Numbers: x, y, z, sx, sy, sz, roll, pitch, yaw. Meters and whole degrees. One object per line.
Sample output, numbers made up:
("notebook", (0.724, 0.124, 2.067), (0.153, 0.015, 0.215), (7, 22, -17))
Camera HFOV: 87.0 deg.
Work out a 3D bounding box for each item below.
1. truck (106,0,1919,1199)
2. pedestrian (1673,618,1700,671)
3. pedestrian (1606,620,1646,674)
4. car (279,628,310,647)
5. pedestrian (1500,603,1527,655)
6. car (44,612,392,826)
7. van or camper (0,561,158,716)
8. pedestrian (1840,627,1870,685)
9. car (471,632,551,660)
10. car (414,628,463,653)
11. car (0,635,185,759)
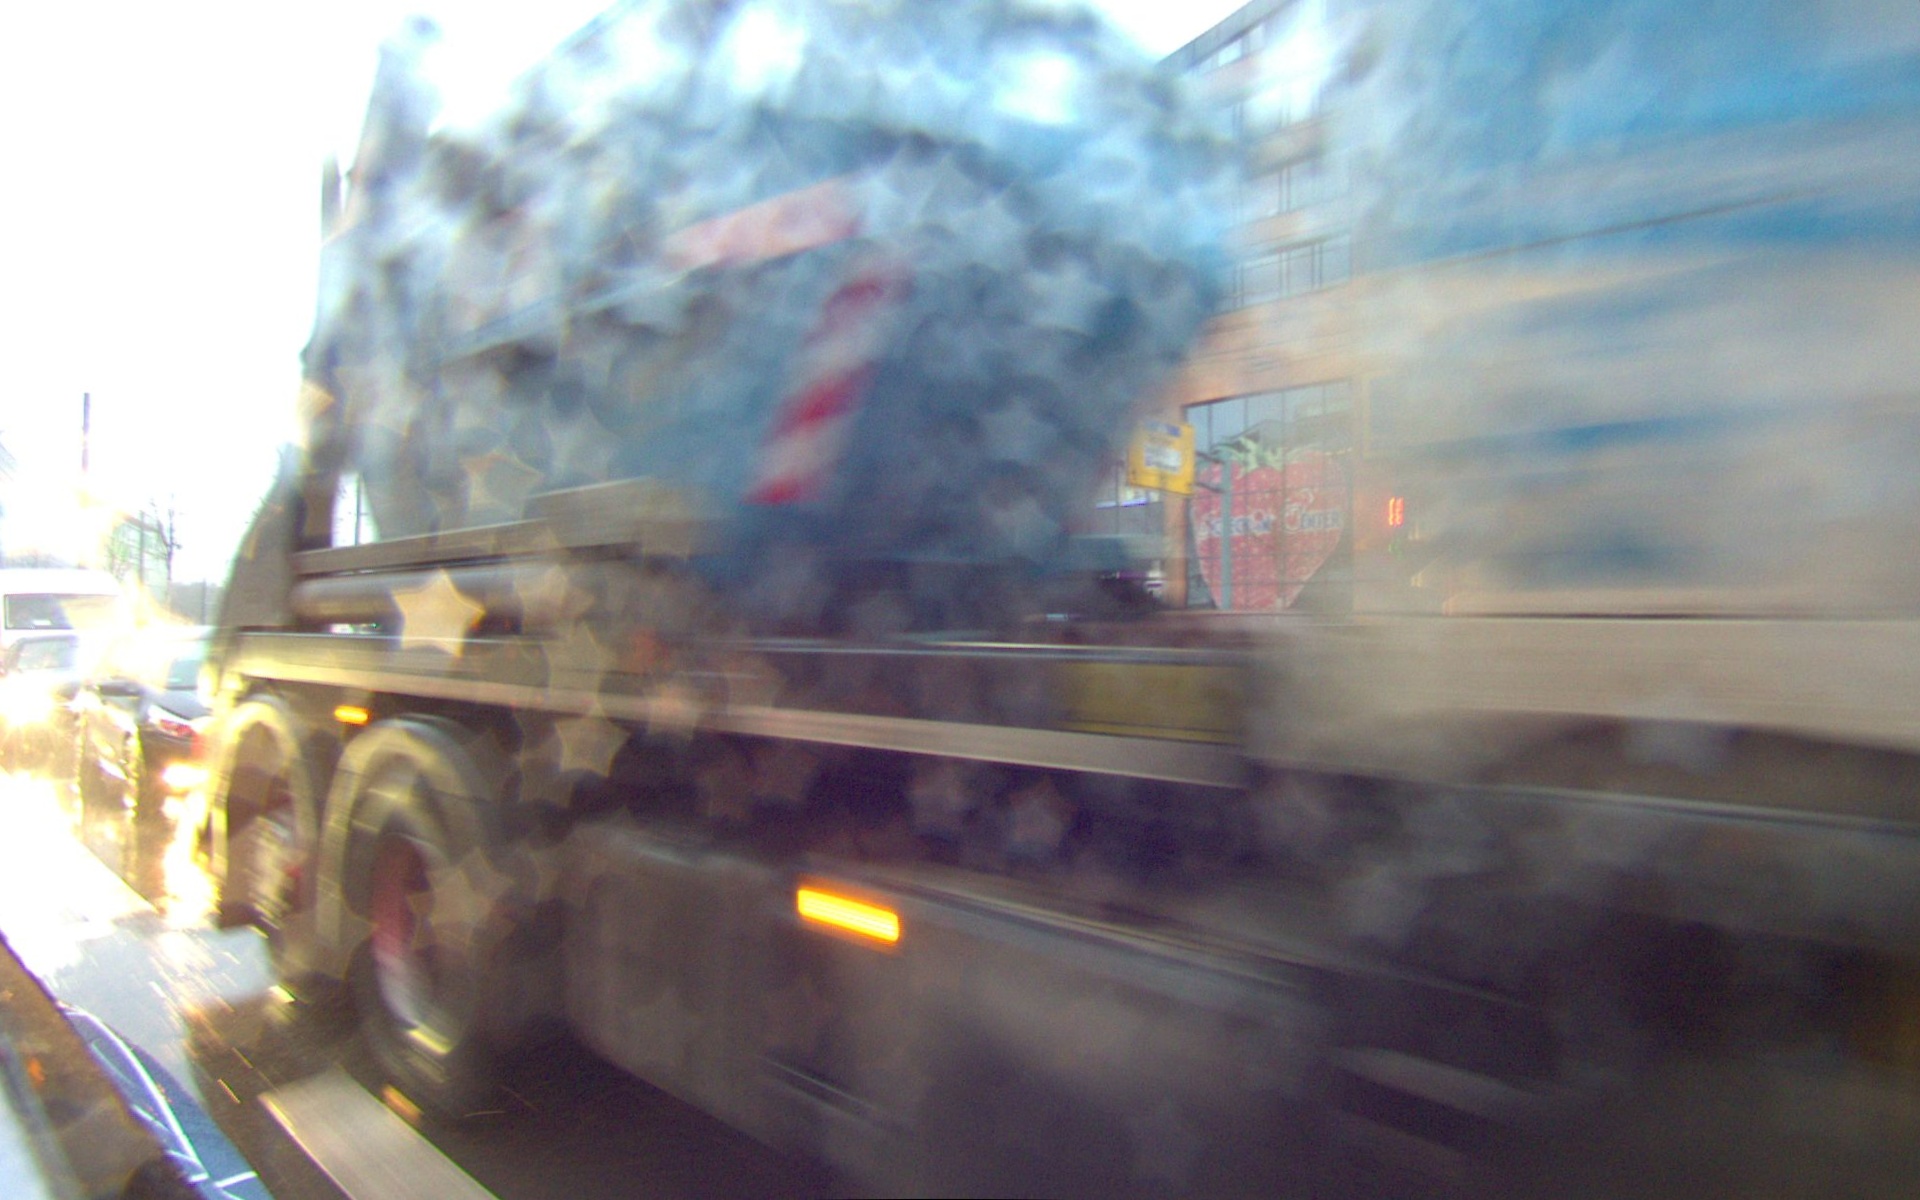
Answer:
("truck", (0.059, -0.212, 3.183), (7.519, 3.661, 2.811), (-1, -2, 39))
("pedestrian", (24.540, 1.495, 34.188), (0.703, 1.766, 0.564), (-1, -2, 38))
("pedestrian", (21.828, 1.539, 33.192), (0.782, 1.766, 0.704), (0, -2, -2))
("car", (-51.978, 2.903, 79.059), (1.764, 1.431, 3.907), (1, -2, -37))
("pedestrian", (18.943, 0.998, 34.651), (0.658, 1.766, 0.534), (0, -2, 11))
("car", (-6.843, 0.892, 9.189), (3.938, 1.535, 1.613), (0, -2, 40))
("van or camper", (-17.414, 0.706, 19.254), (5.892, 2.551, 2.127), (-1, -2, 39))
("pedestrian", (28.133, 1.755, 31.809), (0.564, 1.787, 0.638), (2, -3, -44))
("car", (-21.170, 2.140, 47.660), (4.372, 1.247, 1.820), (-2, -2, 42))
("car", (-30.862, 2.379, 59.884), (1.765, 1.431, 3.905), (1, -2, -40))
("car", (-11.679, 1.154, 13.248), (4.056, 1.355, 1.736), (-2, -2, 42))
